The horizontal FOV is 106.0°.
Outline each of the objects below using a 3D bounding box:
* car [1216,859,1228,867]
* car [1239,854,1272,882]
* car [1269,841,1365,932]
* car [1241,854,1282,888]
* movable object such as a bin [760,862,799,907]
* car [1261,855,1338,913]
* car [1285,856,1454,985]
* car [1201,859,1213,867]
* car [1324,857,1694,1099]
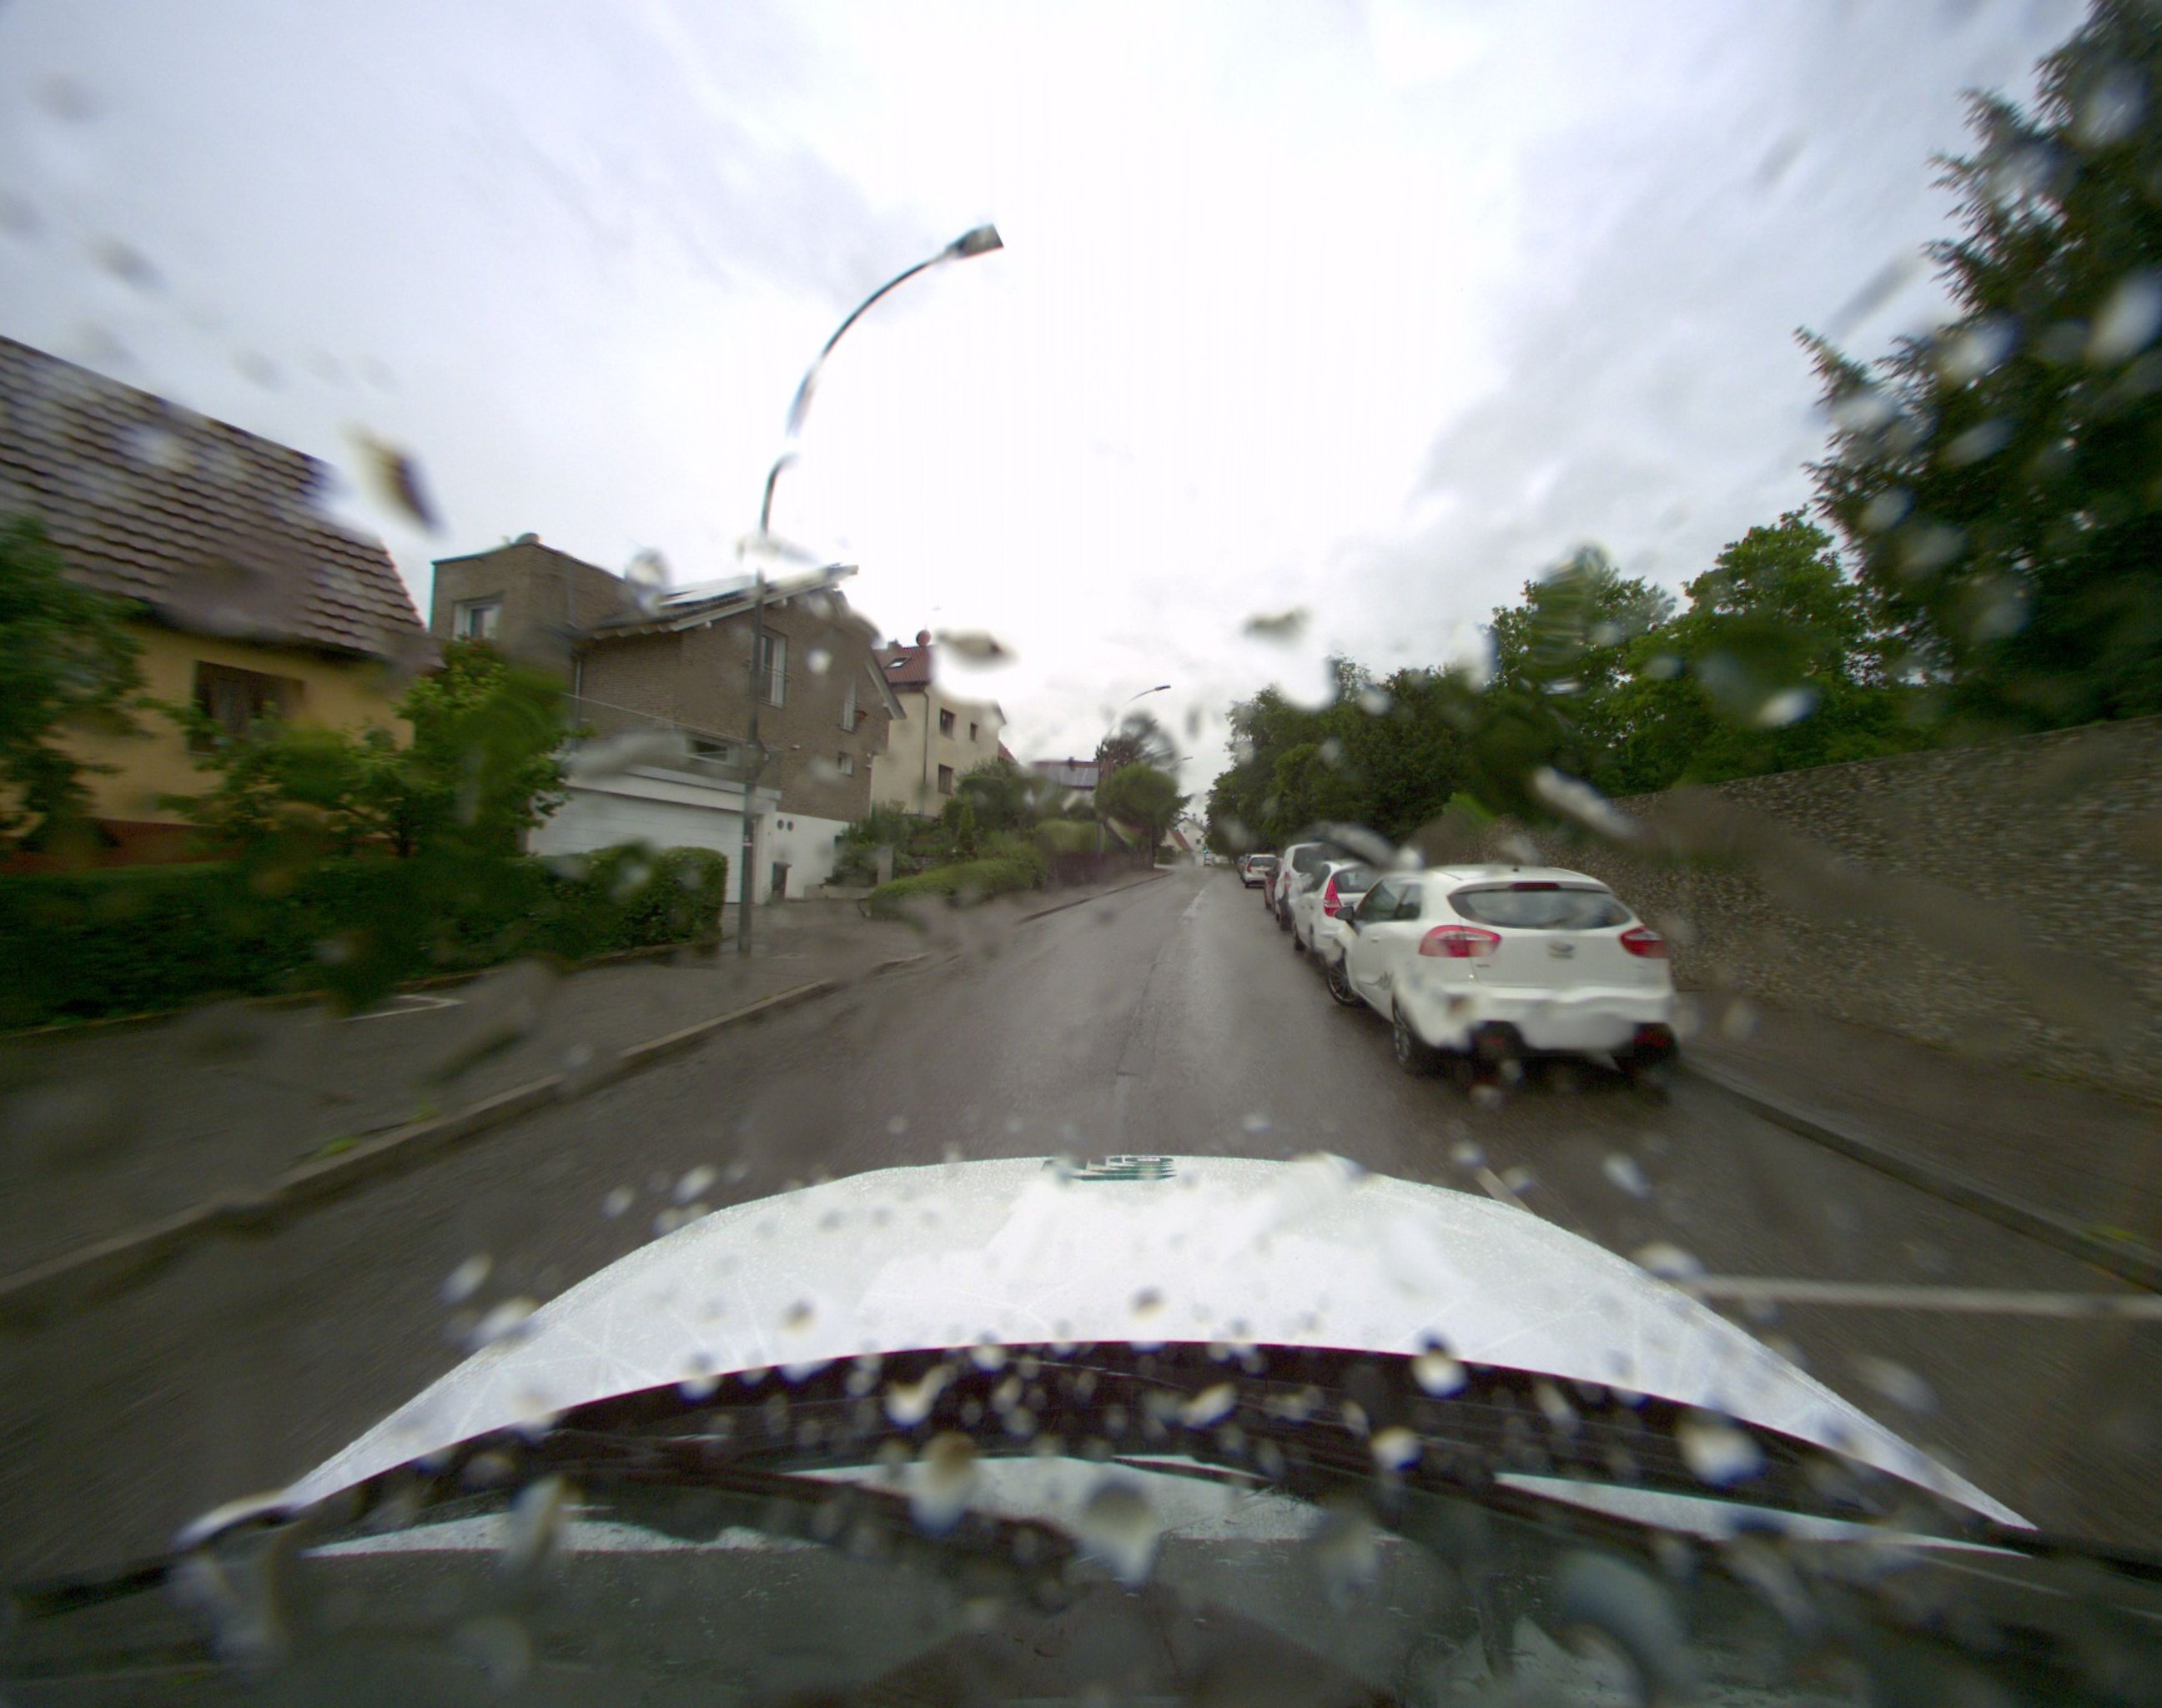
[{"bbox_3d":[26.816,1.670,154.906,1.893,1.442,4.015,0,0,14],"label":"car"},{"bbox_3d":[11.063,0.905,51.768,1.732,1.668,4.507,0,-1,8],"label":"car"},{"bbox_3d":[5.042,0.645,17.824,1.627,1.741,4.147,0,-1,11],"label":"car"},{"bbox_3d":[8.721,0.824,39.491,1.803,1.574,3.892,0,-1,12],"label":"car"},{"bbox_3d":[-7.471,0.746,20.199,0.555,1.074,0.716,0,-1,21],"label":"movable object such as a bin"},{"bbox_3d":[5.978,0.769,22.600,1.575,1.455,3.672,-1,0,8],"label":"car"},{"bbox_3d":[3.984,0.801,11.859,1.636,1.462,4.011,1,1,9],"label":"car"},{"bbox_3d":[24.032,1.688,155.713,1.893,1.442,4.015,0,0,14],"label":"car"},{"bbox_3d":[3.255,0.778,7.109,1.602,1.480,4.047,0,0,8],"label":"car"}]
